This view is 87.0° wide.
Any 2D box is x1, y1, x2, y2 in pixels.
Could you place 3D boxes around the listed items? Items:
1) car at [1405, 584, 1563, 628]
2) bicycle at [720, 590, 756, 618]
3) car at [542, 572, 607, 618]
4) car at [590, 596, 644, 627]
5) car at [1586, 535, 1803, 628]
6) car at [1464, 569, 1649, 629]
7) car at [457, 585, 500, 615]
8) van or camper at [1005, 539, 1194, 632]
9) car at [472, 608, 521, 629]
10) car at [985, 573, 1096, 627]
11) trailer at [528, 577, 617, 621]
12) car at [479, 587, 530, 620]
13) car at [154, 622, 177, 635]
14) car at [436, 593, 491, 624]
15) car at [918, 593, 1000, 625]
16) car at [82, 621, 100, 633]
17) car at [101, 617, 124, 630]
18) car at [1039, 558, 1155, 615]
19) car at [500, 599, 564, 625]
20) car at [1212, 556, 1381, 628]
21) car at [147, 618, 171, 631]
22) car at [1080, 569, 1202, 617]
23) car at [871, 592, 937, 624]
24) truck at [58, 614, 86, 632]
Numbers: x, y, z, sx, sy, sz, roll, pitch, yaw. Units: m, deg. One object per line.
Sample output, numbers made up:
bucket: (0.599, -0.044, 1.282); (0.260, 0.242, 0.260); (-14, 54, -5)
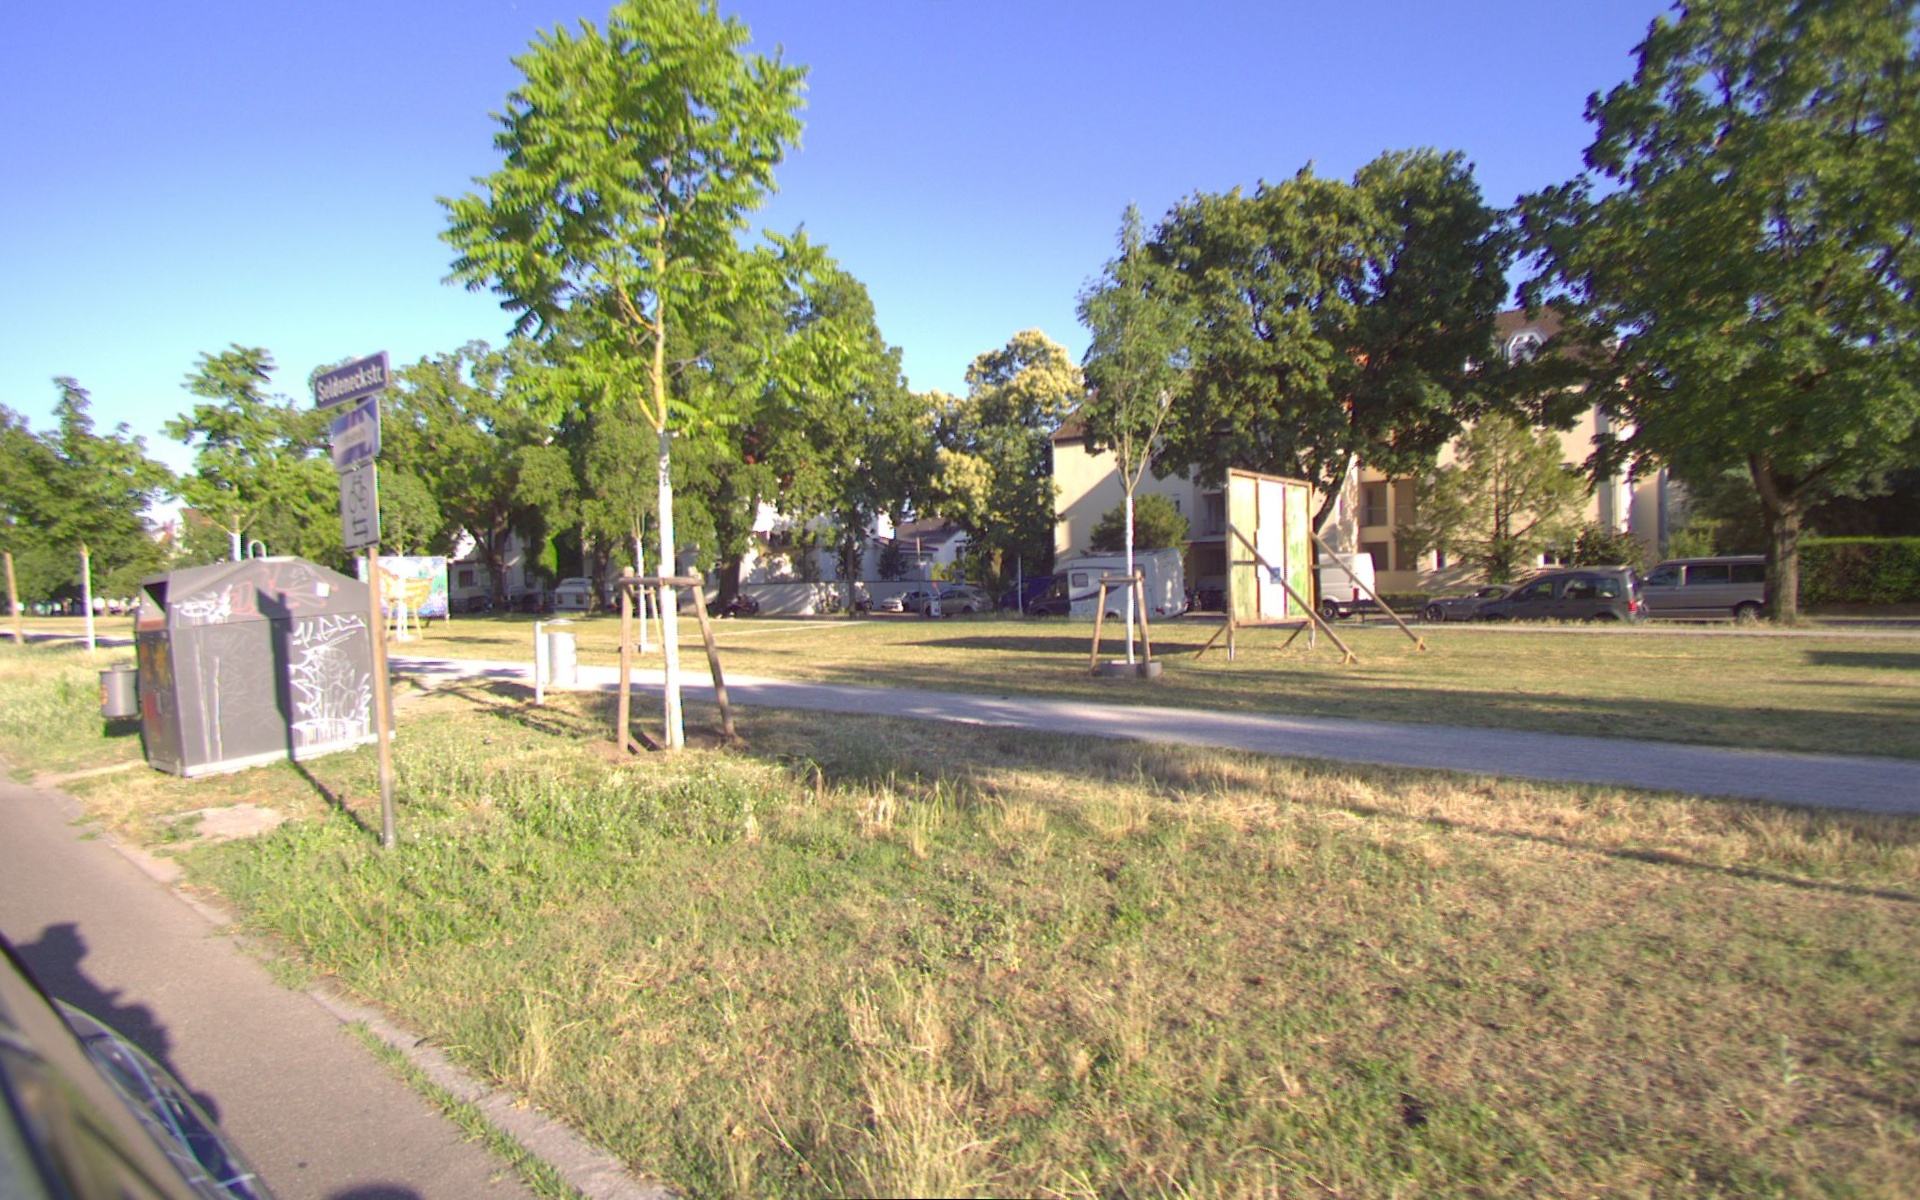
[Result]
car: (18.370, 0.223, 35.621); (4.564, 1.413, 1.971); (0, -2, 45)
bicycle: (-10.811, 0.201, 49.207); (2.331, 1.352, 0.505); (-1, 0, 45)
car: (-29.397, -0.349, 77.060); (6.071, 3.274, 1.973); (-2, 0, 41)
car: (-24.568, 0.824, 72.439); (3.999, 2.170, 1.972); (-1, 0, 42)
car: (22.778, -0.528, 31.542); (5.321, 2.624, 2.114); (0, -2, 40)
car: (16.746, -0.027, 28.544); (4.307, 1.576, 1.400); (-1, 1, 40)
car: (-41.992, -0.046, 88.172); (3.999, 2.560, 1.973); (1, 2, 41)
van or camper: (5.247, -0.498, 39.043); (6.902, 3.287, 2.614); (-1, 0, 42)
car: (-33.491, 1.309, 73.031); (4.043, 1.325, 1.832); (0, 2, 44)
car: (3.788, 0.014, 48.294); (5.116, 2.437, 1.916); (0, -2, 42)
trailer: (-25.191, -0.054, 65.684); (6.632, 2.679, 2.448); (0, -2, 41)
car: (-38.301, 0.293, 85.025); (5.042, 2.660, 1.925); (0, -2, 42)
car: (-128.773, 4.617, 164.050); (3.995, 1.921, 1.974); (-2, 0, 38)
car: (-37.588, 0.638, 76.646); (4.566, 2.191, 1.974); (-2, 0, 39)
car: (-0.074, 0.478, 51.819); (3.806, 1.554, 1.974); (-1, 1, 39)
car: (-152.920, 4.728, 178.102); (4.001, 2.029, 1.972); (-2, 0, 44)
car: (-137.917, 3.865, 164.628); (3.997, 2.029, 2.099); (0, -2, 40)
car: (5.247, -0.498, 39.043); (3.999, 2.029, 1.972); (-1, 0, 42)
car: (-29.483, 0.813, 69.639); (4.947, 1.654, 1.974); (-1, 2, 40)
car: (13.342, -0.291, 40.422); (6.087, 2.617, 1.973); (0, -2, 41)
car: (-113.946, 3.497, 143.900); (3.998, 1.715, 1.973); (-2, 0, 41)
car: (7.942, -0.280, 44.801); (5.048, 2.019, 1.949); (-1, 1, 42)
car: (-3.677, 0.513, 67.323); (1.977, 1.914, 4.471); (-1, 1, 36)
truck: (-165.040, 4.194, 188.152); (7.704, 3.170, 2.750); (-1, 0, 40)
